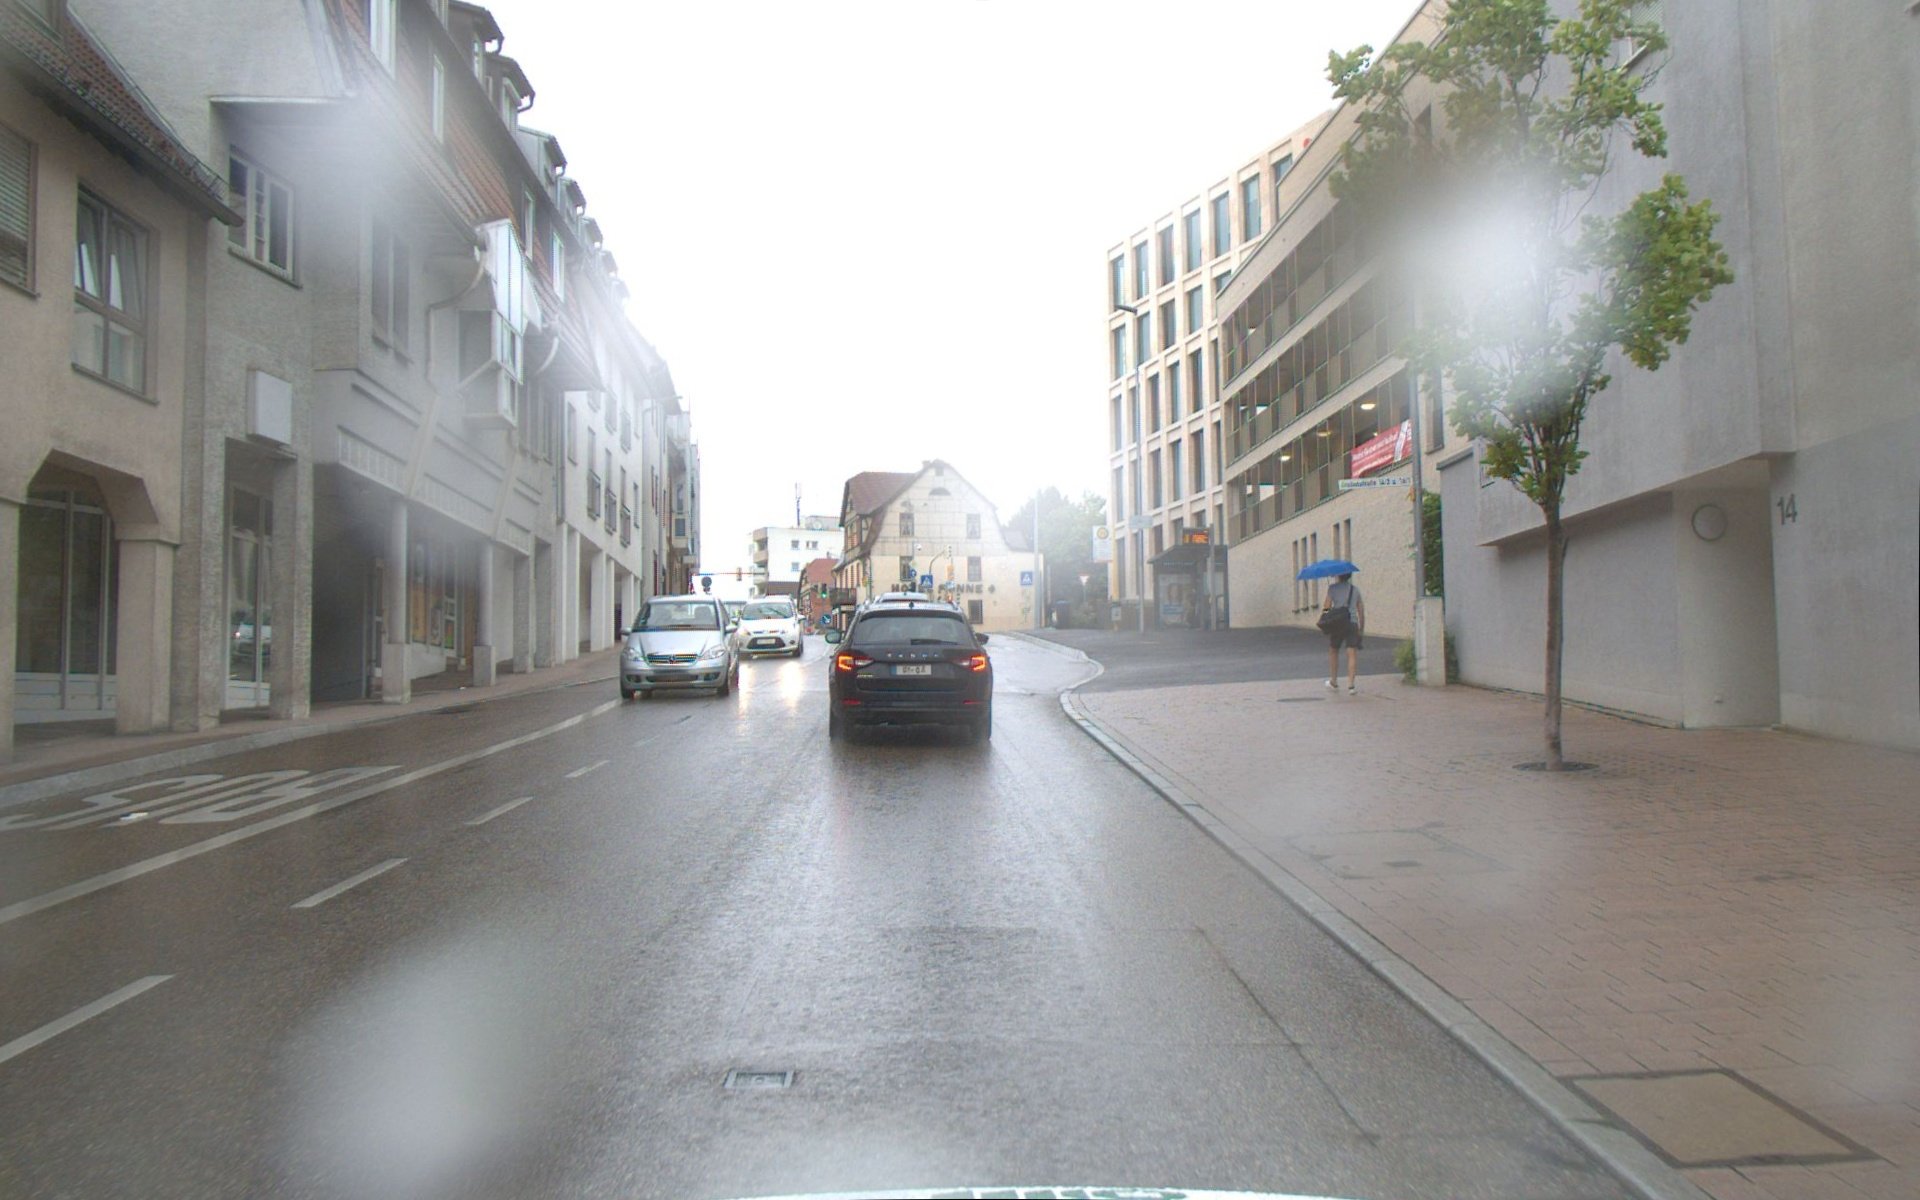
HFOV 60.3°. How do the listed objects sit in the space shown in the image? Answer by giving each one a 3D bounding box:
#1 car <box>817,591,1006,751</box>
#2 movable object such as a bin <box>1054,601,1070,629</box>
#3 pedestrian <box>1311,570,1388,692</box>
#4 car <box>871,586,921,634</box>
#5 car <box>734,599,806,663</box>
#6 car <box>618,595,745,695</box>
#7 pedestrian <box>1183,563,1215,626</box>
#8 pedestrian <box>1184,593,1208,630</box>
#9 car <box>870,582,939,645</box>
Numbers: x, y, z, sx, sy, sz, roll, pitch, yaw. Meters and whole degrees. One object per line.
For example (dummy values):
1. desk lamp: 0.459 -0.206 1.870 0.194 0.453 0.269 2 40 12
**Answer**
1. car: -0.647 0.716 18.976 1.906 1.594 4.413 -1 0 -4
2. movable object such as a bin: 4.030 0.591 65.449 0.583 1.081 0.578 -1 0 -2
3. pedestrian: 5.299 0.411 22.541 0.721 1.569 1.038 -4 0 1
4. car: -2.233 0.337 57.851 1.647 1.587 3.998 -2 0 -2
5. car: -4.859 0.768 42.658 1.644 1.536 3.586 -1 0 -4
6. car: -4.581 0.697 27.635 1.643 1.536 3.587 -1 0 -3
7. pedestrian: 7.676 -0.168 53.122 0.766 1.974 1.021 -2 0 -2
8. pedestrian: 7.805 0.388 54.722 0.658 1.182 0.635 -2 0 -2
9. car: -1.489 0.330 43.009 1.644 1.536 3.586 -1 0 -4
